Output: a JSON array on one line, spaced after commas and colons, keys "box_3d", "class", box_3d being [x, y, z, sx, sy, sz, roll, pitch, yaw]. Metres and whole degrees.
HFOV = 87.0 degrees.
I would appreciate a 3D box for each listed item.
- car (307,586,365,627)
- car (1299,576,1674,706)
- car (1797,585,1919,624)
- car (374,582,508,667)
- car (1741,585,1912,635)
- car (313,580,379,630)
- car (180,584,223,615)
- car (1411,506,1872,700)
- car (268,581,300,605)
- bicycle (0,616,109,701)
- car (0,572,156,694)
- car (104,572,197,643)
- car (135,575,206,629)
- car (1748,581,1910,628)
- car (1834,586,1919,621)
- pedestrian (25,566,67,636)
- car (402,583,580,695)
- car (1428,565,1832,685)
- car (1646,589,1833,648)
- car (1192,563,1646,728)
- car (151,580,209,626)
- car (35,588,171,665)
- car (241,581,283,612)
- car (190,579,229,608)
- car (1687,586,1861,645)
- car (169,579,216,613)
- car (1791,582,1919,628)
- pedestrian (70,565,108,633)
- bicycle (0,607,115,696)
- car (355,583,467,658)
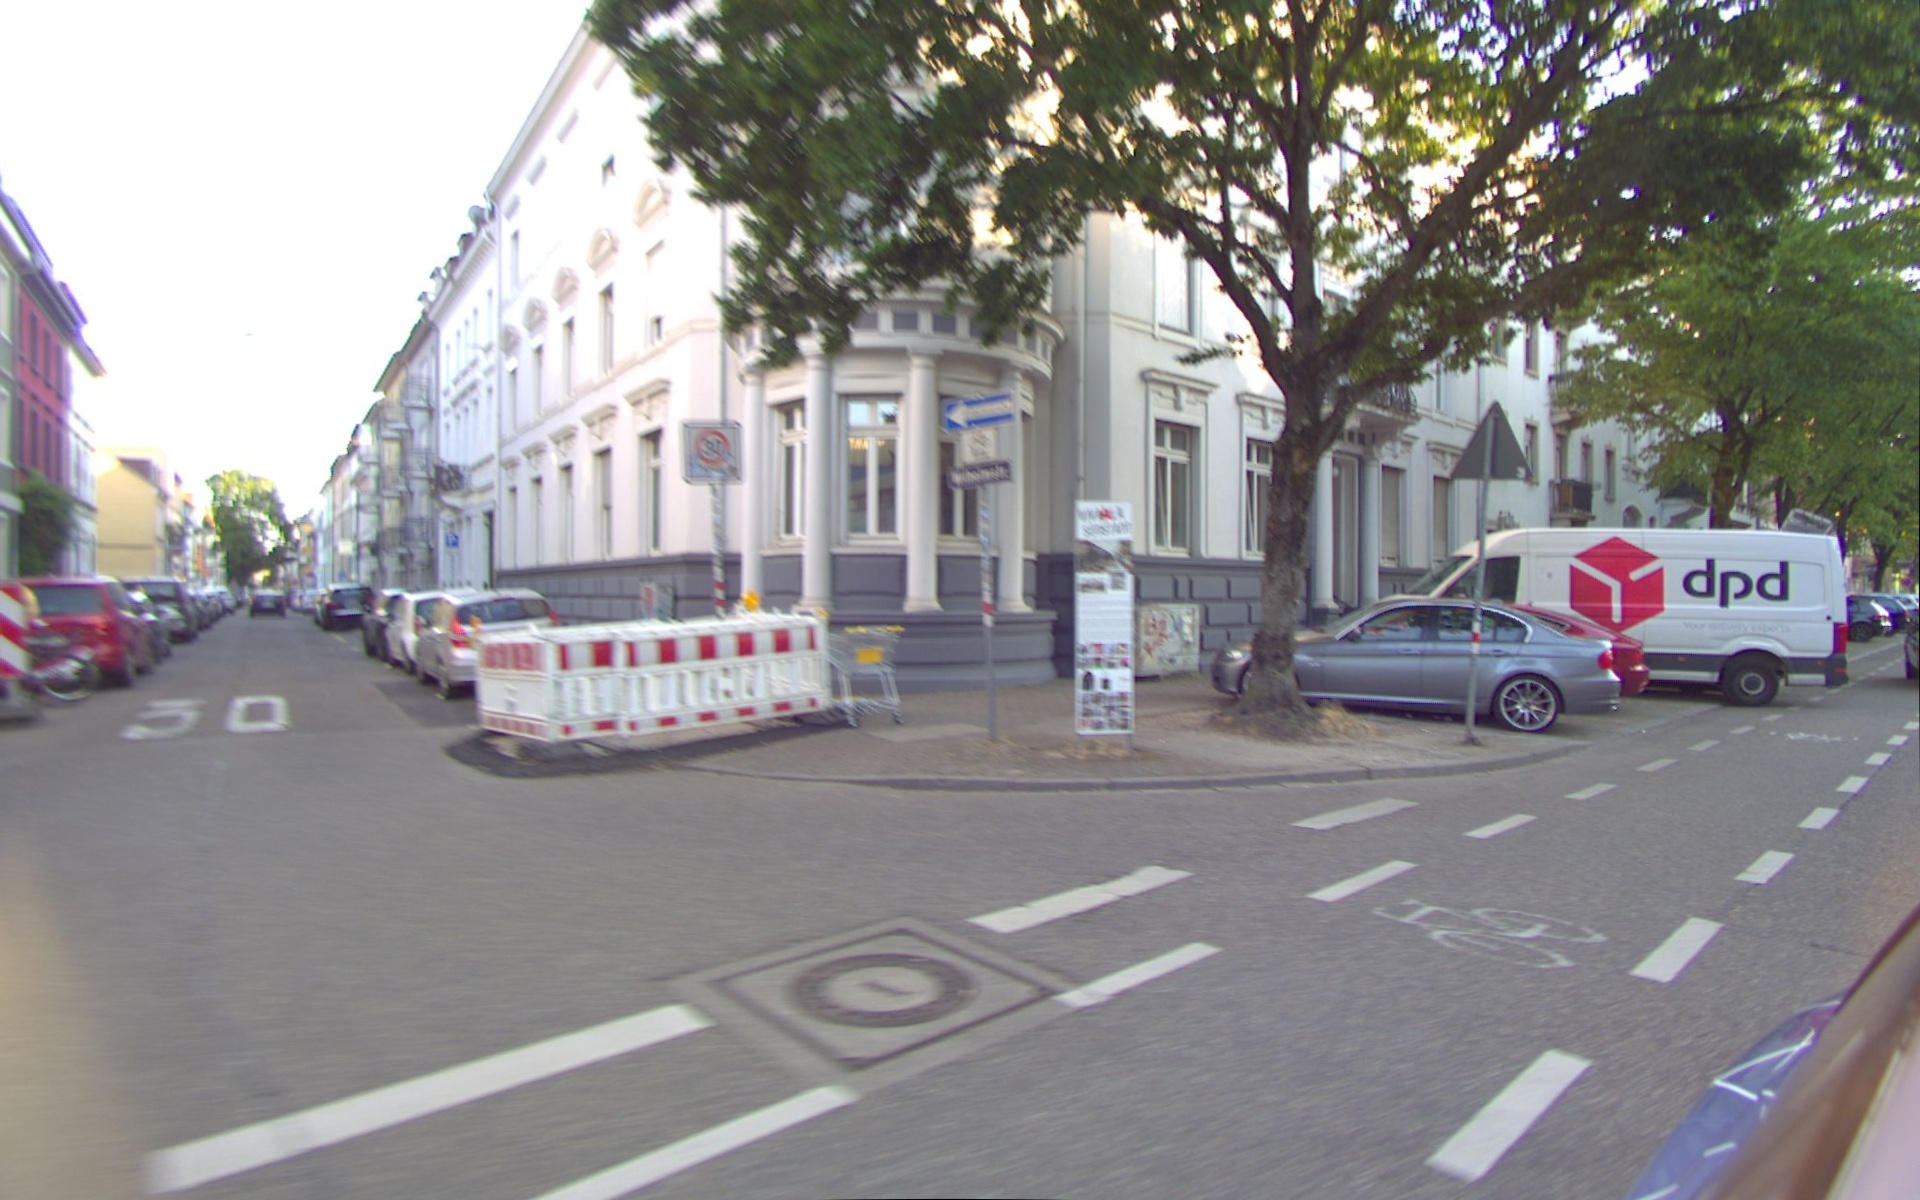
[{"box_3d": [-26.679, 0.225, 43.208, 1.819, 1.639, 3.898, 0, 1, -36], "class": "car"}, {"box_3d": [7.095, 0.468, 14.223, 4.352, 1.462, 1.975, 2, 2, 20], "class": "car"}, {"box_3d": [39.092, 0.195, 43.678, 4.157, 1.630, 1.732, 0, 0, 20], "class": "car"}, {"box_3d": [-10.403, 0.400, 20.147, 1.819, 1.511, 3.898, 0, 1, -36], "class": "car"}, {"box_3d": [29.702, 0.301, 34.864, 4.179, 1.521, 1.724, 3, 1, 32], "class": "car"}, {"box_3d": [-23.191, 0.150, 38.166, 1.819, 1.786, 3.898, 0, 1, -36], "class": "car"}, {"box_3d": [-42.480, -0.047, 56.749, 1.819, 1.682, 3.814, 0, 1, -36], "class": "car"}, {"box_3d": [10.338, 0.000, 15.946, 5.556, 2.728, 2.163, 1, 0, 14], "class": "car"}, {"box_3d": [-49.484, -0.517, 74.066, 1.819, 1.682, 3.752, 0, 1, -36], "class": "car"}, {"box_3d": [-12.602, 0.777, 13.525, 0.525, 1.070, 1.842, 0, 1, 44], "class": "bicycle"}, {"box_3d": [-14.167, 0.426, 16.016, 1.818, 1.689, 4.364, 0, 1, -33], "class": "car"}, {"box_3d": [-22.523, 0.160, 28.272, 1.819, 1.828, 3.898, 0, 1, -36], "class": "car"}, {"box_3d": [-27.789, 0.047, 35.711, 1.819, 1.786, 3.898, 0, 1, -36], "class": "car"}, {"box_3d": [31.326, 0.127, 36.653, 4.179, 1.521, 1.724, 3, 1, 32], "class": "car"}, {"box_3d": [45.193, 0.153, 48.829, 4.157, 1.630, 1.732, 0, 0, 20], "class": "car"}, {"box_3d": [-25.596, 0.012, 28.354, 0.785, 1.923, 0.992, 0, 1, -37], "class": "pedestrian"}, {"box_3d": [-7.422, 0.504, 15.815, 1.819, 1.510, 3.898, 0, 1, -36], "class": "car"}, {"box_3d": [11.596, 0.367, 18.037, 5.556, 1.919, 2.163, 1, 0, 14], "class": "car"}, {"box_3d": [20.311, 0.454, 26.508, 3.521, 1.427, 1.515, 1, 0, 14], "class": "car"}, {"box_3d": [5.235, 0.437, 12.125, 4.553, 1.532, 1.849, 3, 1, 21], "class": "car"}, {"box_3d": [-33.013, 0.094, 42.922, 1.819, 1.828, 3.898, 0, 1, -36], "class": "car"}, {"box_3d": [-17.440, 0.466, 20.764, 1.819, 1.403, 3.898, 0, 1, -36], "class": "car"}, {"box_3d": [-38.692, -0.226, 56.061, 1.819, 1.682, 3.752, 0, 1, -36], "class": "car"}, {"box_3d": [-45.482, -0.394, 61.365, 1.819, 1.682, 3.814, 0, 1, -36], "class": "car"}, {"box_3d": [22.818, 0.414, 28.510, 3.529, 1.565, 1.375, 1, 0, 20], "class": "car"}, {"box_3d": [-39.135, -0.216, 51.657, 1.819, 1.682, 3.814, 0, 1, -36], "class": "car"}, {"box_3d": [35.069, 0.193, 39.116, 4.158, 1.629, 1.692, 2, 1, 20], "class": "car"}, {"box_3d": [-24.931, -0.038, 28.974, 0.785, 1.923, 0.734, 0, 0, -37], "class": "pedestrian"}, {"box_3d": [-12.016, 0.652, 12.736, 2.058, 1.070, 0.592, -1, 1, -34], "class": "bicycle"}, {"box_3d": [-12.891, 0.405, 23.644, 1.819, 1.597, 3.898, 0, 1, -36], "class": "car"}]
